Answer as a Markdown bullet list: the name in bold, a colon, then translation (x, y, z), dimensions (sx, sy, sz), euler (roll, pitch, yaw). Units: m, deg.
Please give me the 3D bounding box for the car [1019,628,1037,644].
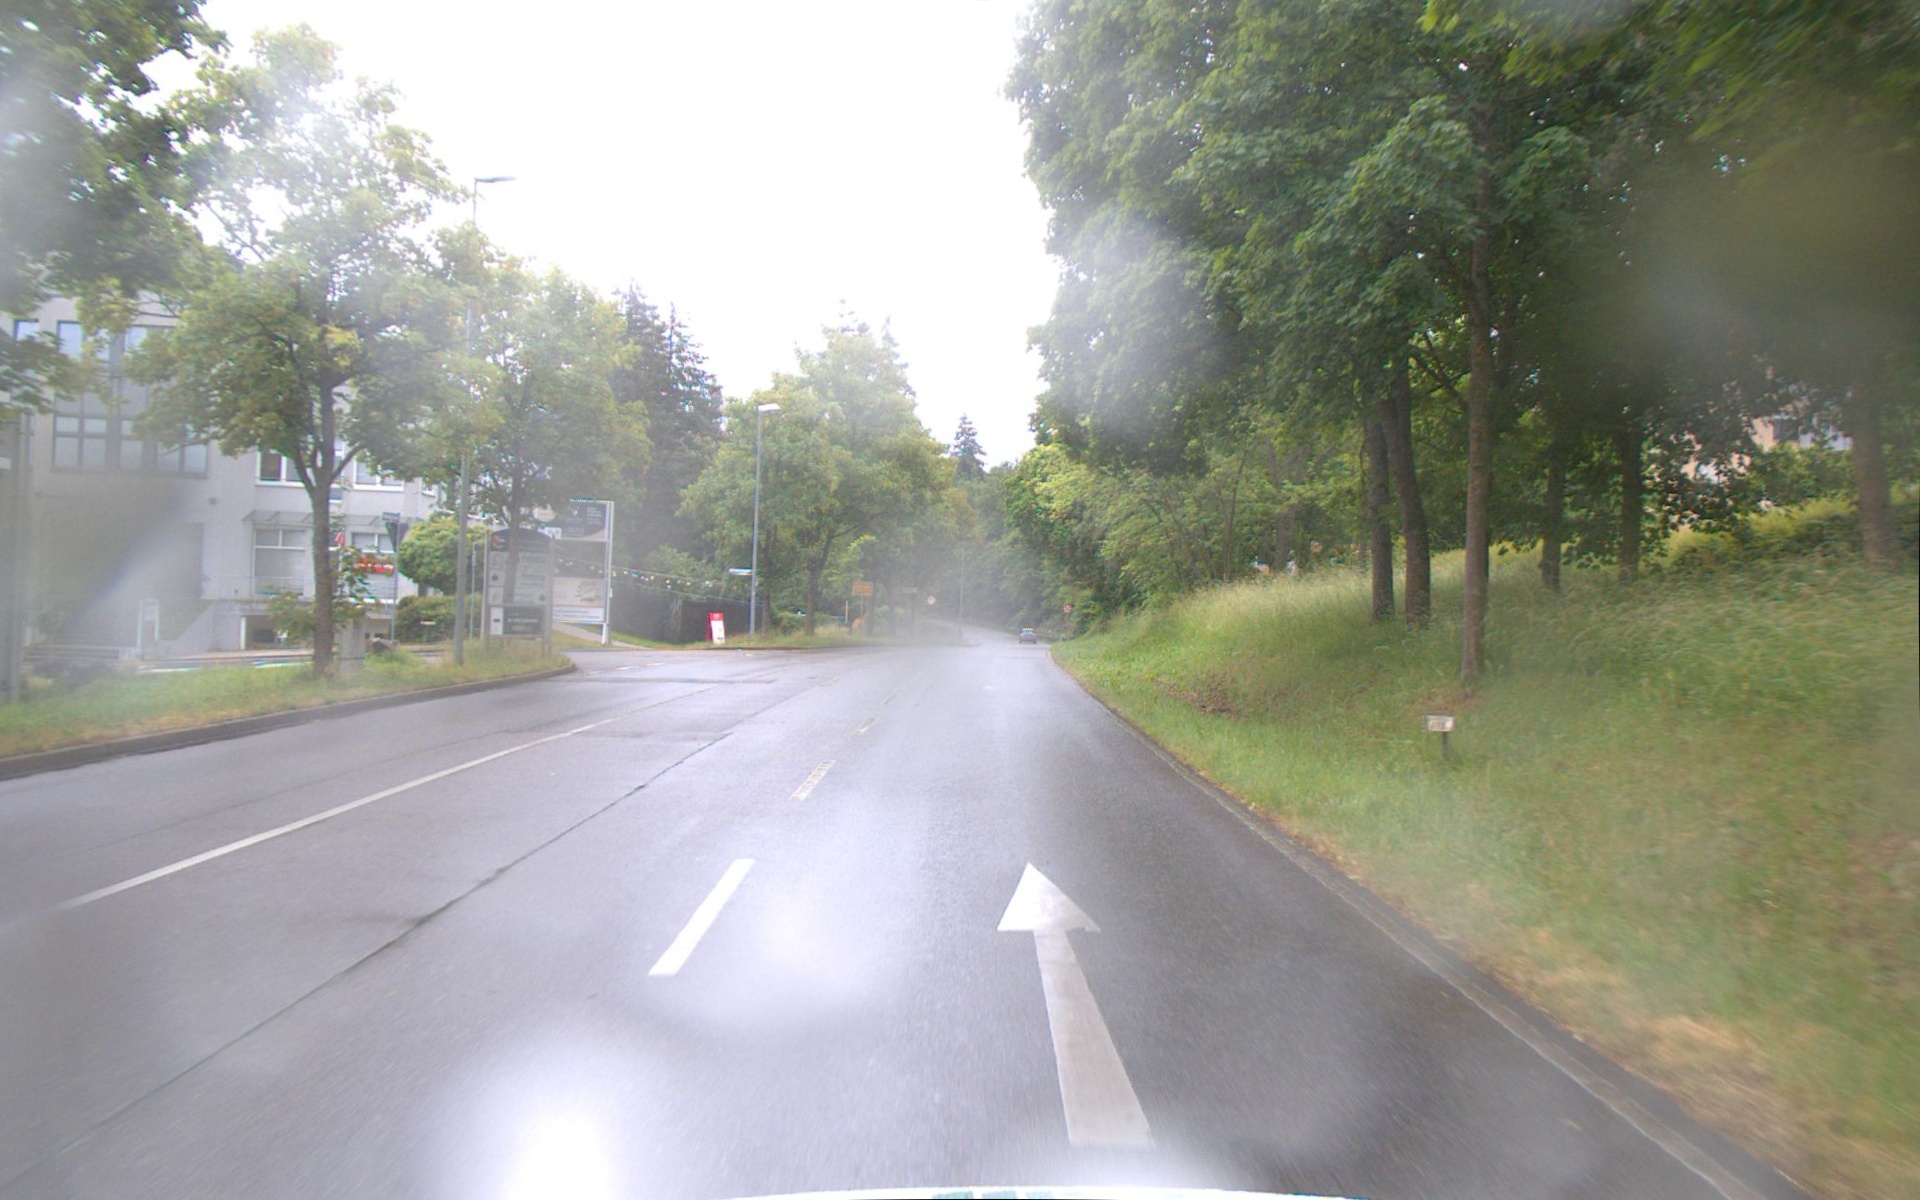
- **car**: translation (6.880, 3.639, 166.638), dimensions (1.701, 1.537, 4.000), euler (0, -1, 1)
